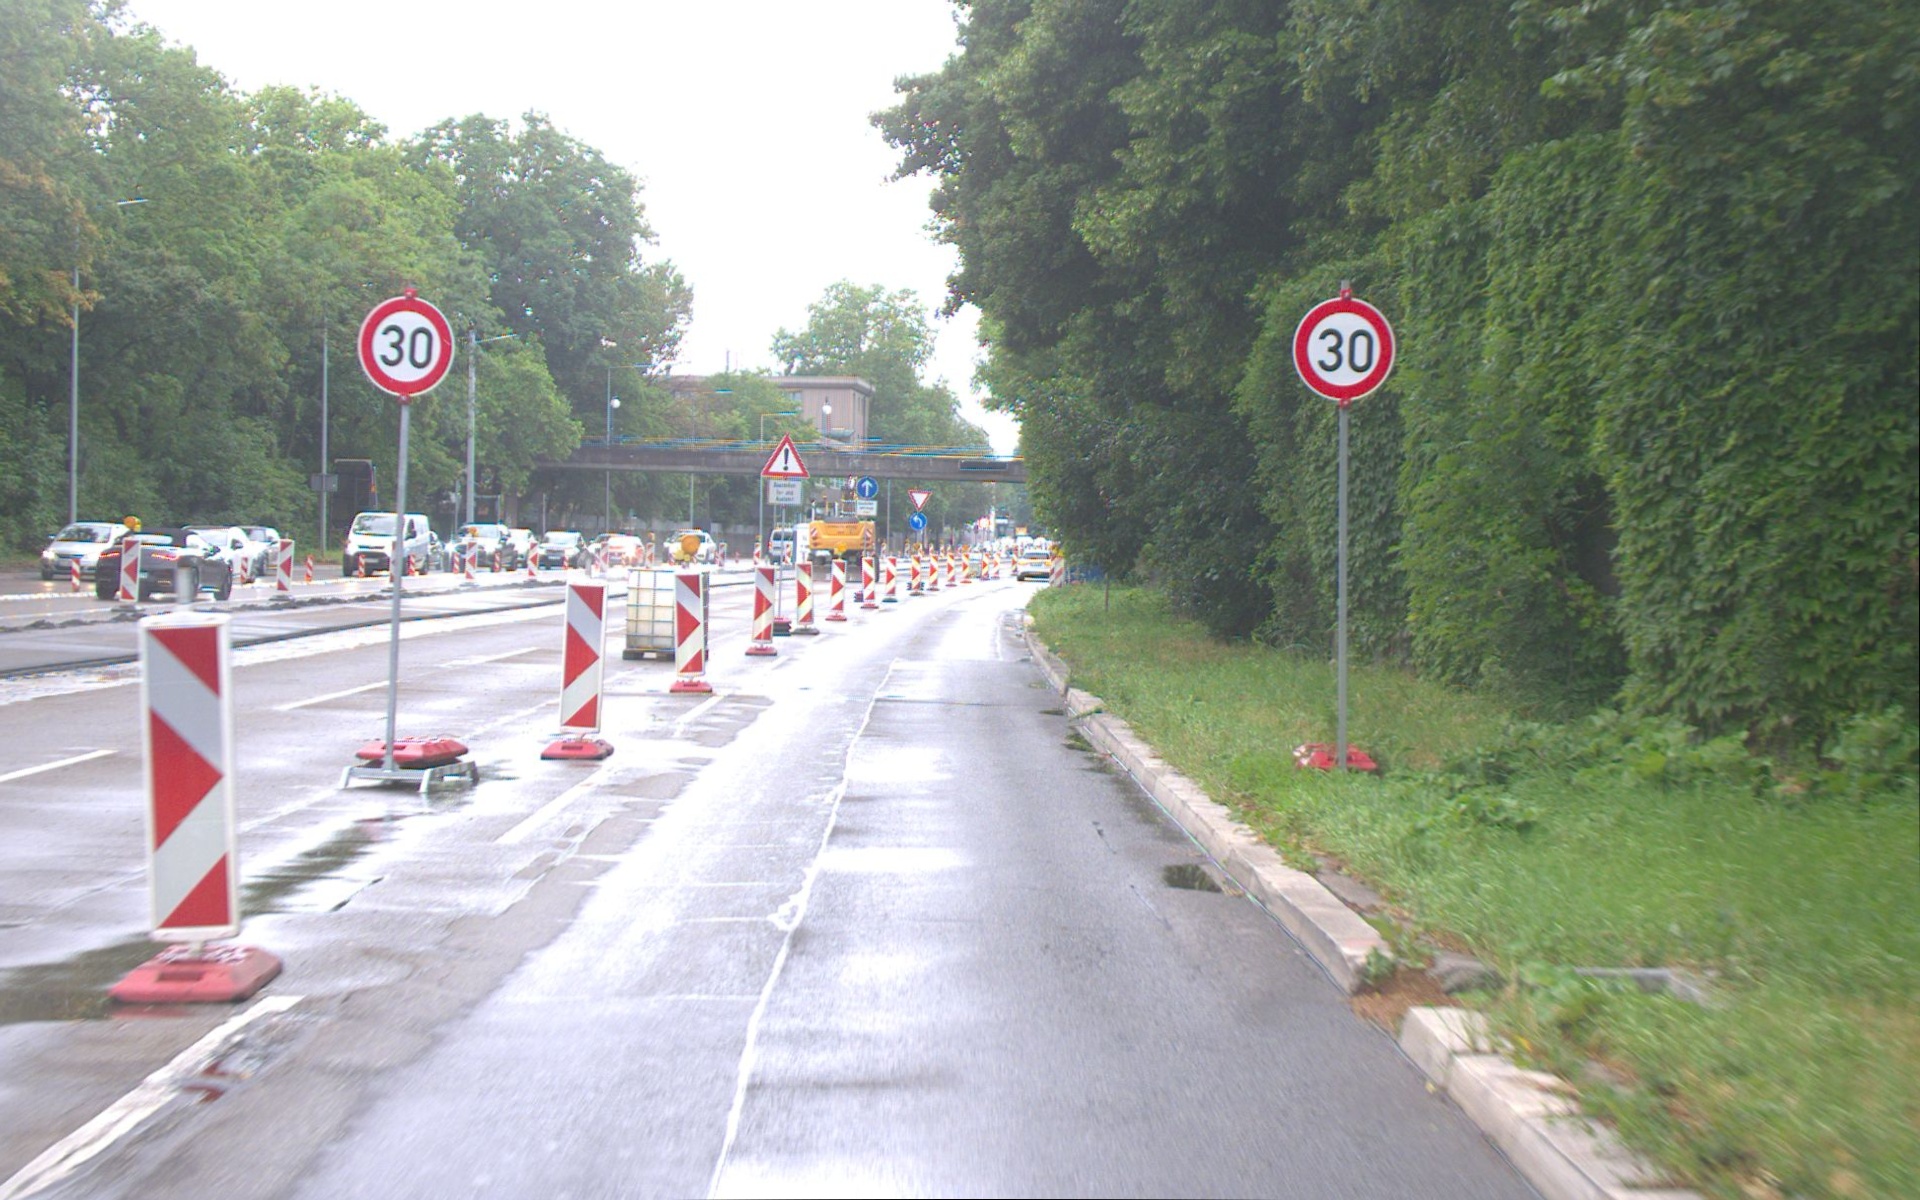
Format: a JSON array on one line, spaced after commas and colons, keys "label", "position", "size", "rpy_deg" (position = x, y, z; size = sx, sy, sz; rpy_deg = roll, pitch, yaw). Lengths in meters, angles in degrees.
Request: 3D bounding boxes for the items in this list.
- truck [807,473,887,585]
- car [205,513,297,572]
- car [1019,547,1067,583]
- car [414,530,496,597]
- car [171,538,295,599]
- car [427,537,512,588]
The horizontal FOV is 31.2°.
[{"label": "truck", "position": [-4.520, -2.869, 139.794], "size": [2.897, 4.244, 10.756], "rpy_deg": [2, 1, -1]}, {"label": "car", "position": [-20.803, -1.682, 101.011], "size": [1.827, 1.616, 4.000], "rpy_deg": [3, 1, 0]}, {"label": "car", "position": [3.860, -1.629, 159.303], "size": [1.994, 1.634, 3.999], "rpy_deg": [1, 1, 4]}, {"label": "car", "position": [-15.739, -1.158, 107.369], "size": [1.993, 1.965, 4.904], "rpy_deg": [2, 1, -3]}, {"label": "car", "position": [-17.591, -0.771, 83.318], "size": [1.993, 1.411, 4.393], "rpy_deg": [1, 1, 1]}, {"label": "car", "position": [-17.480, -1.340, 122.809], "size": [2.021, 1.719, 5.012], "rpy_deg": [2, 1, 3]}]
